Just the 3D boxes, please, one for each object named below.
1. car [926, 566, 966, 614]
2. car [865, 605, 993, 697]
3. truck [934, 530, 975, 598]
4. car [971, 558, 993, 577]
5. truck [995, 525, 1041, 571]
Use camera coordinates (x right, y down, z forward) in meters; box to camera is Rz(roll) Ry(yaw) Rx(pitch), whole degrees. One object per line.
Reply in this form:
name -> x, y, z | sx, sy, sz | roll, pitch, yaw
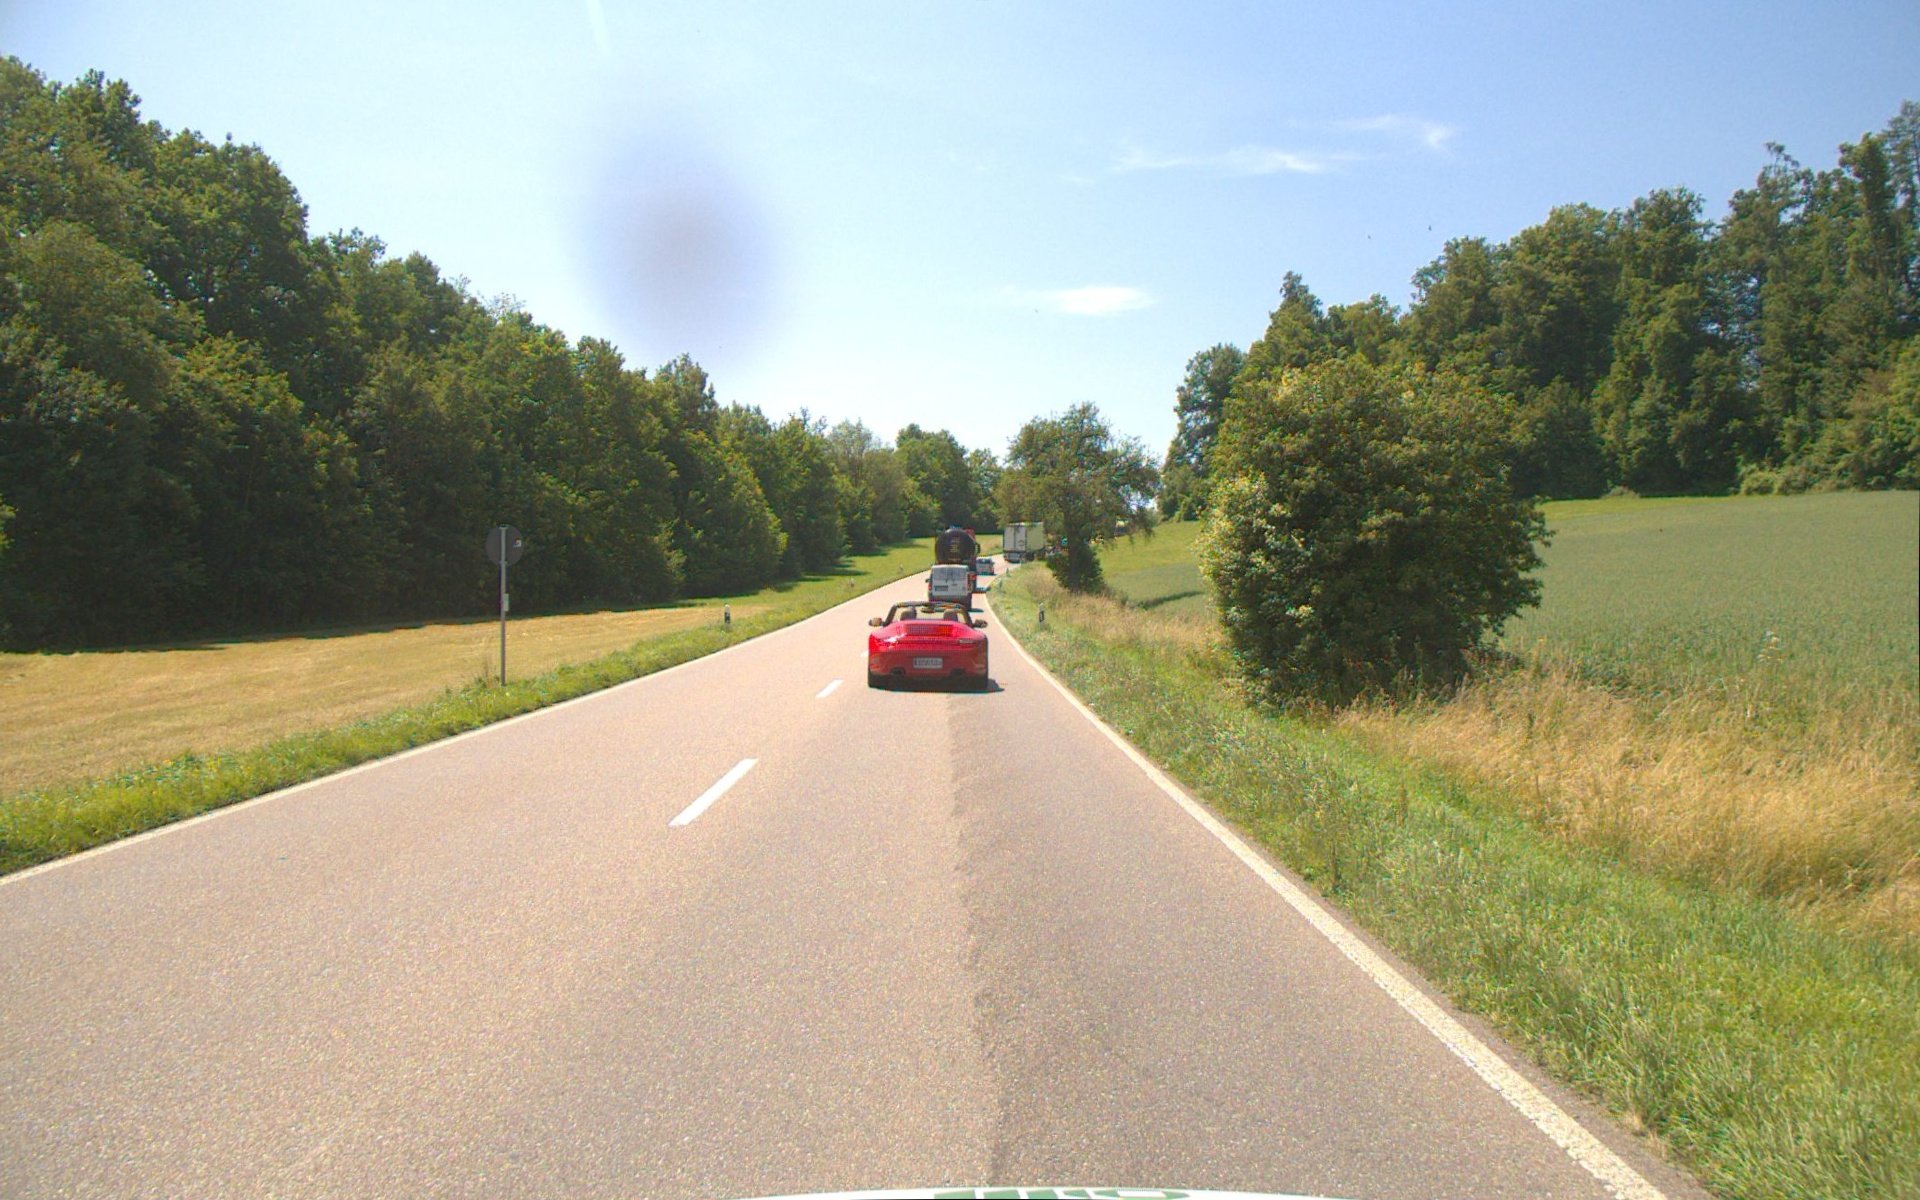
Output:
car -> -0.590, -0.452, 70.547 | 1.644, 1.933, 4.009 | 0, 2, -1
car -> -0.466, 0.741, 25.938 | 1.844, 1.277, 4.009 | 1, 0, -1
truck -> -0.434, -2.316, 106.854 | 2.355, 4.120, 12.548 | -2, 1, -1
car -> 1.957, -2.889, 147.230 | 1.792, 1.539, 4.194 | 0, 3, 3
truck -> 6.460, -5.779, 182.427 | 3.646, 4.740, 12.045 | 0, 3, 9
